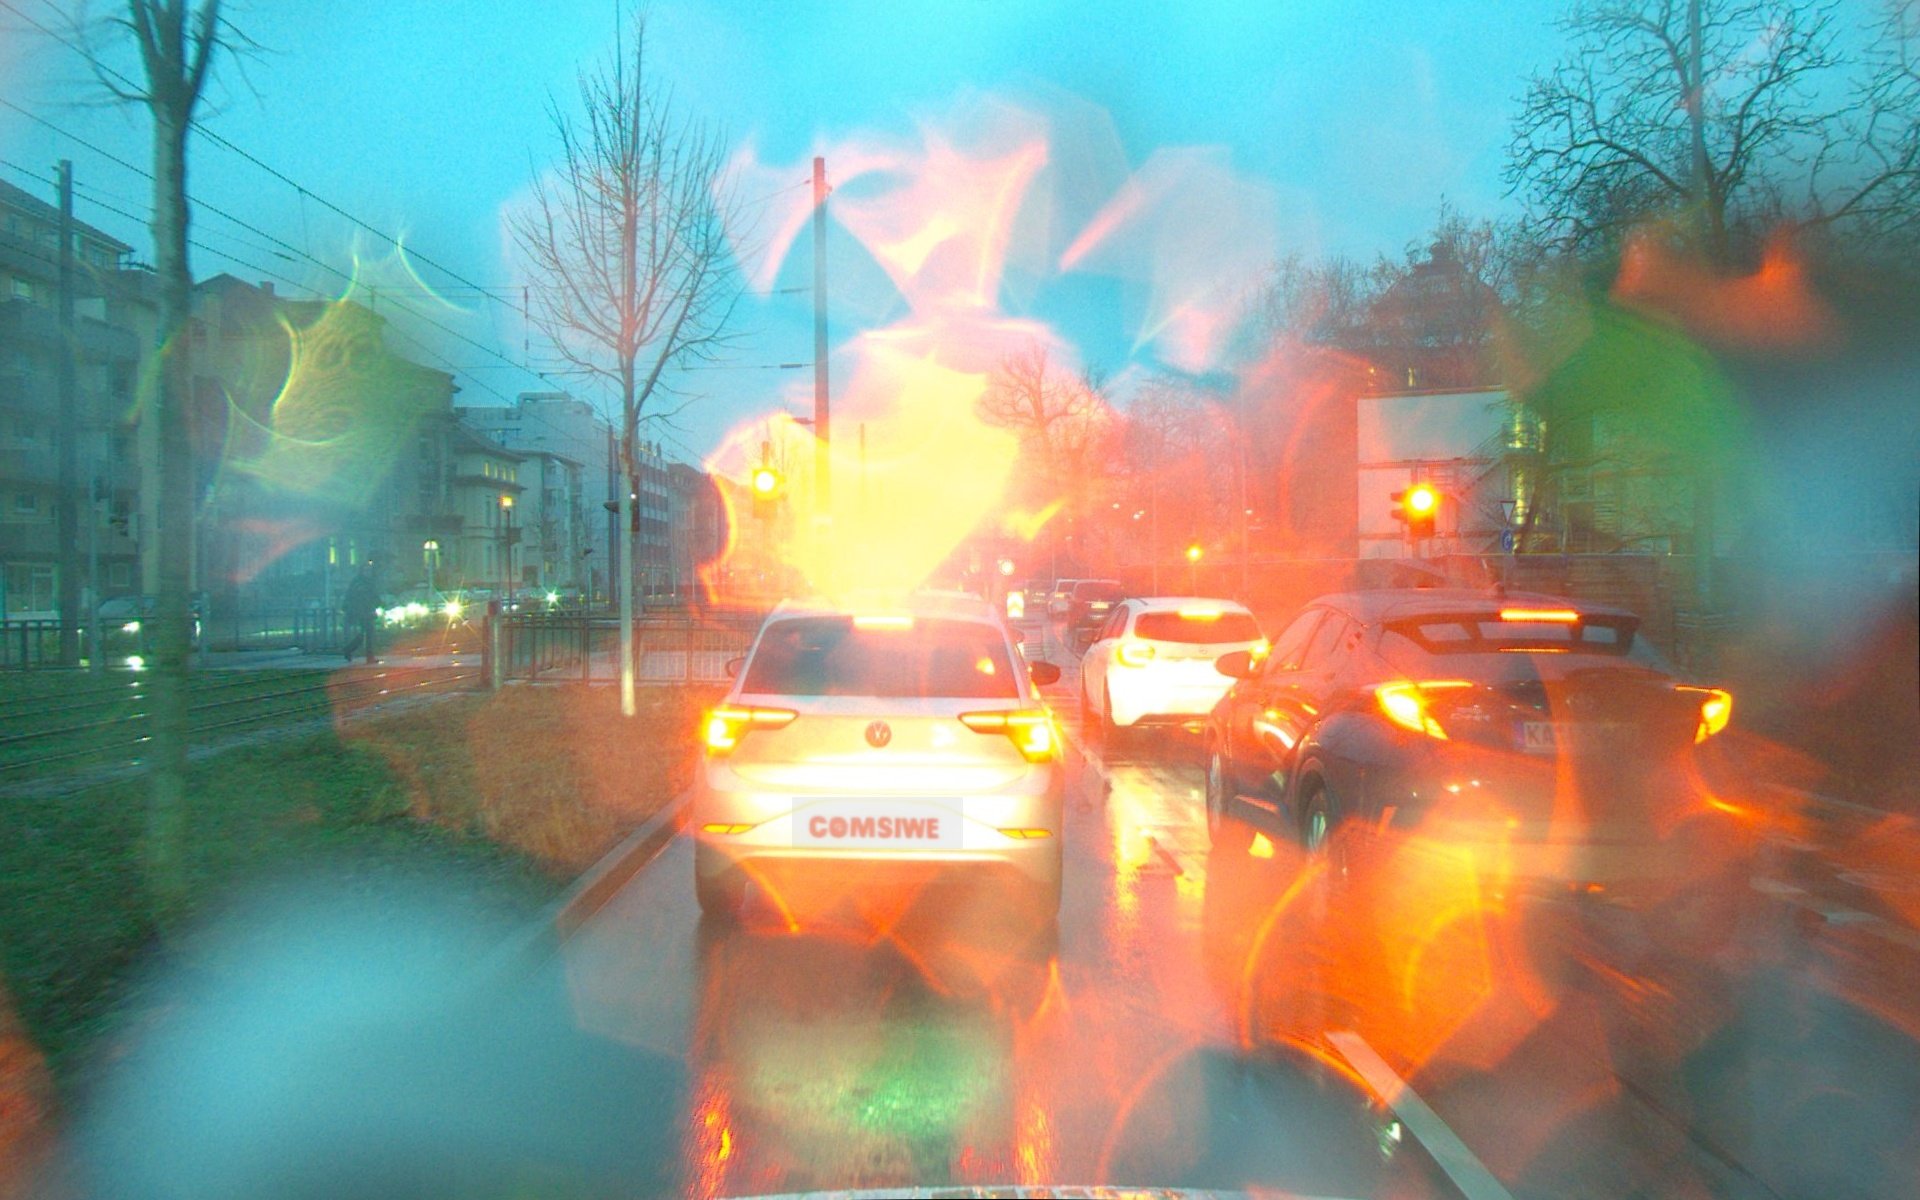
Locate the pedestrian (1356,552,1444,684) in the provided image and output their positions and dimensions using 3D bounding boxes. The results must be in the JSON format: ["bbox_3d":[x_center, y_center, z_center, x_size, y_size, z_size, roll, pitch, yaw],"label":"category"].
[{"bbox_3d":[7.051,0.274,26.539,0.946,2.049,1.000,-1,0,-23],"label":"pedestrian"}]

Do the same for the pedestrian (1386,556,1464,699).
[{"bbox_3d":[6.838,0.396,24.362,0.938,2.049,1.008,-1,0,7],"label":"pedestrian"}]

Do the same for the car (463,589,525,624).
[{"bbox_3d":[-22.073,0.265,78.456,1.829,1.604,3.999,0,0,-1],"label":"car"}]

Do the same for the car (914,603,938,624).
[{"bbox_3d":[-2.409,0.960,118.222,1.702,1.444,3.803,-1,1,-1],"label":"car"}]

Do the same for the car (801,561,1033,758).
[{"bbox_3d":[-0.353,0.429,15.015,1.762,1.492,4.585,-1,1,-1],"label":"car"}]

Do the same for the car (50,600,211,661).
[{"bbox_3d":[-20.306,0.710,40.702,1.821,1.355,4.314,1,0,-1],"label":"car"}]

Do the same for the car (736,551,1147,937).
[{"bbox_3d":[-0.177,0.565,8.721,1.659,1.560,3.998,1,1,-3],"label":"car"}]

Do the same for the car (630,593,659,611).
[{"bbox_3d":[-29.672,0.169,155.719,1.910,1.630,4.000,1,0,0],"label":"car"}]

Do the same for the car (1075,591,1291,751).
[{"bbox_3d":[2.209,0.657,17.299,1.710,1.458,3.731,1,0,0],"label":"car"}]

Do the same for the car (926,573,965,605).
[{"bbox_3d":[-0.678,-0.518,76.506,1.702,1.444,4.393,-1,1,-1],"label":"car"}]

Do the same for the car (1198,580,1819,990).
[{"bbox_3d":[2.365,0.688,8.229,1.763,1.537,3.895,0,0,-1],"label":"car"}]

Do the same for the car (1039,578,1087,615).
[{"bbox_3d":[4.205,-0.149,67.904,1.702,1.444,3.703,-1,1,-1],"label":"car"}]

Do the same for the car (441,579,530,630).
[{"bbox_3d":[-16.235,0.152,56.770,1.953,1.630,3.999,1,0,-2],"label":"car"}]

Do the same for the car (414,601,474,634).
[{"bbox_3d":[-21.906,0.727,70.324,1.658,1.300,4.142,0,0,-7],"label":"car"}]

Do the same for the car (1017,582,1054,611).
[{"bbox_3d":[3.923,-0.220,86.770,1.702,1.444,4.145,-1,1,-1],"label":"car"}]

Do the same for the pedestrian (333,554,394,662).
[{"bbox_3d":[-11.487,0.146,31.879,0.988,2.049,0.958,-1,0,-15],"label":"pedestrian"}]

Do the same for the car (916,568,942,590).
[{"bbox_3d":[-2.116,-1.456,112.237,1.702,1.444,3.803,-1,1,-1],"label":"car"}]

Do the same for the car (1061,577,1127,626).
[{"bbox_3d":[4.085,0.016,50.880,1.702,1.444,3.703,-1,1,-1],"label":"car"}]
